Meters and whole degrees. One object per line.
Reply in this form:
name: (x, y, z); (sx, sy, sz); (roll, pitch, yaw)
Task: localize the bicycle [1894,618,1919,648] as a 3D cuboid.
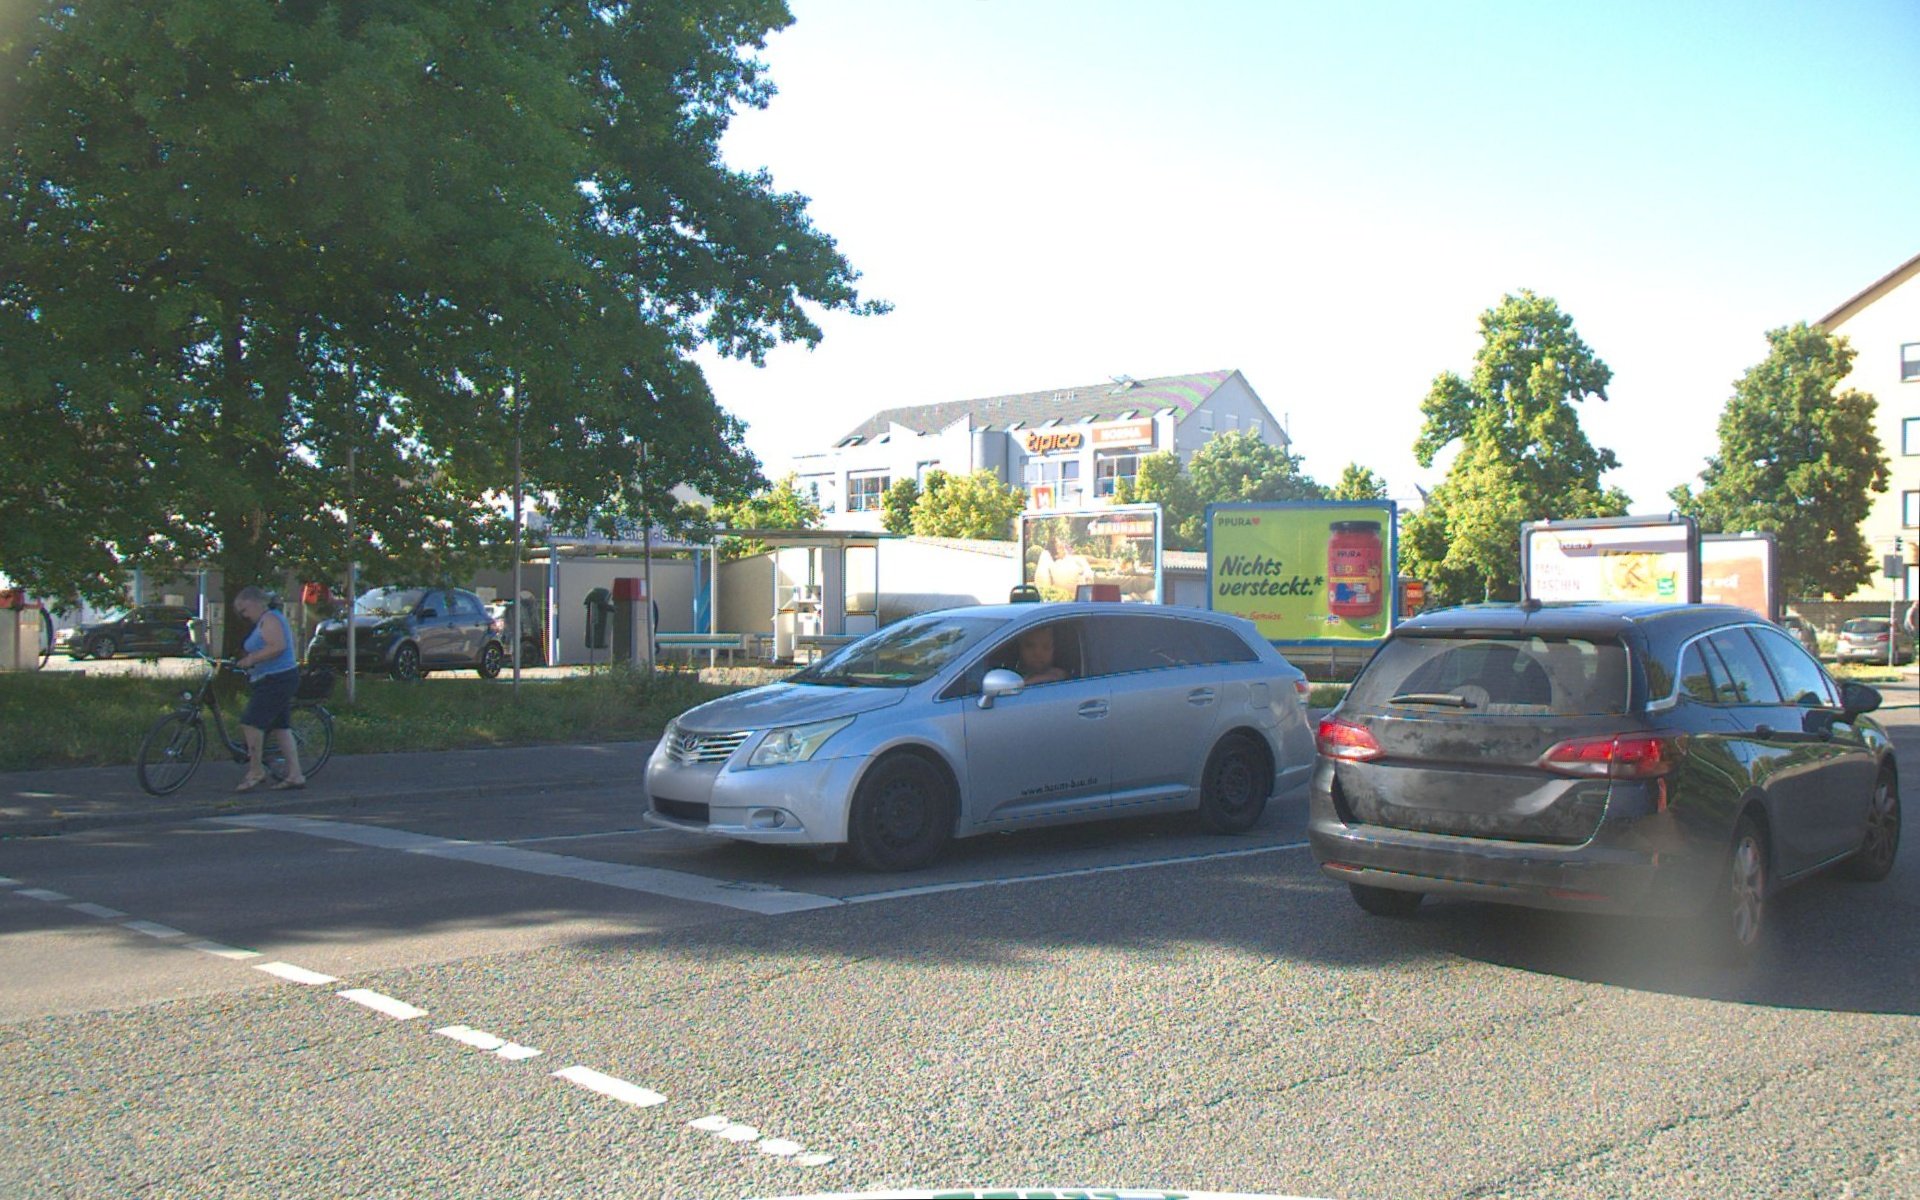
bicycle: (32.538, 1.120, 55.967); (1.584, 1.029, 0.406); (0, -3, 21)

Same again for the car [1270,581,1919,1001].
car: (3.379, 0.711, 8.186); (1.735, 1.517, 4.267); (1, 0, 41)

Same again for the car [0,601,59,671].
car: (-20.128, 0.678, 32.422); (1.759, 1.359, 3.993); (0, -3, 29)

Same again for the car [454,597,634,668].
car: (-10.338, 0.838, 41.328); (1.962, 1.635, 3.980); (-1, -3, 39)

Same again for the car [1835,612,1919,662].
car: (29.538, 1.164, 53.219); (1.702, 1.489, 3.862); (-1, 0, 39)

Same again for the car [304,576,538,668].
car: (-8.882, 0.412, 27.631); (1.717, 1.400, 4.002); (0, -3, 17)

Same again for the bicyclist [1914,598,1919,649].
bicyclist: (32.547, 0.810, 55.978); (0.380, 1.715, 0.382); (0, -3, 21)

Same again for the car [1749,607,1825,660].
car: (27.980, 1.109, 55.901); (1.669, 1.650, 3.866); (-1, 0, 36)

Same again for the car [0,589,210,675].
car: (-16.769, 0.663, 31.979); (1.498, 1.538, 3.991); (-1, -3, 30)

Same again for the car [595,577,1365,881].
car: (0.307, 0.670, 10.482); (4.840, 1.515, 1.817); (0, -2, -38)

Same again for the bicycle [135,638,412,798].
bicycle: (-5.451, 0.902, 13.243); (2.010, 1.161, 0.520); (0, -1, -44)

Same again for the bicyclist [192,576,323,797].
bicyclist: (-5.524, 0.657, 13.020); (0.823, 1.670, 0.534); (0, -1, -44)
